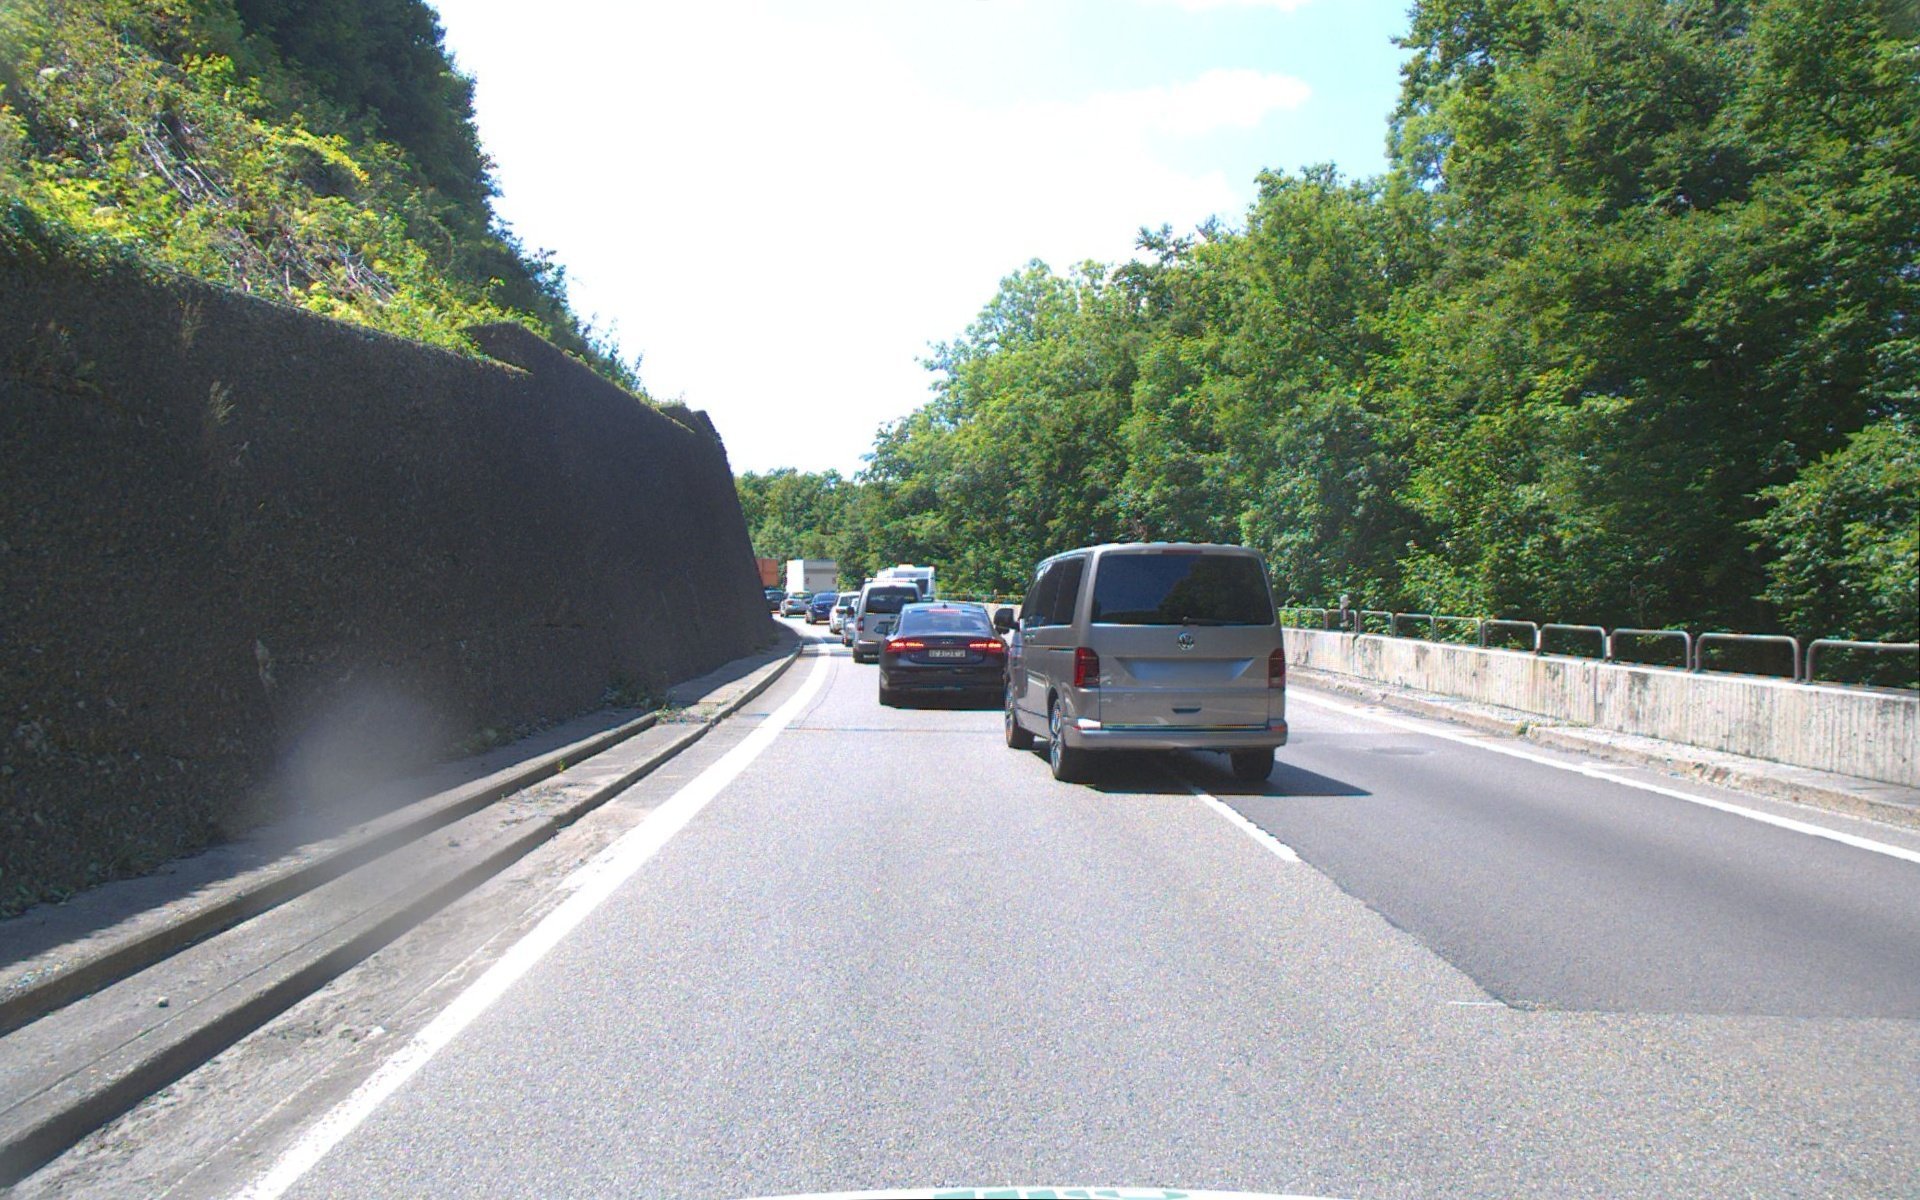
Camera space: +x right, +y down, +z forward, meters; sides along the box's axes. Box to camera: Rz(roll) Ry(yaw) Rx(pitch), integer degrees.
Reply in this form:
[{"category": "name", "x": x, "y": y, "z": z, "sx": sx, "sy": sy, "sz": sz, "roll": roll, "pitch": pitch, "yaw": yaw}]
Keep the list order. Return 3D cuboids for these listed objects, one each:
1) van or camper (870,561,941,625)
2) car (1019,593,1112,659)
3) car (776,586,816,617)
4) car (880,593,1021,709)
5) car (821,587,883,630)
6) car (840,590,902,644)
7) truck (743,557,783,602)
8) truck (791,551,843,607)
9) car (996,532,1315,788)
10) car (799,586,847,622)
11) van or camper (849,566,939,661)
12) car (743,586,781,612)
[{"category": "van or camper", "x": -2.791, "y": -0.357, "z": 82.696, "sx": 2.556, "sy": 2.905, "sz": 6.321, "roll": 4, "pitch": 0, "yaw": -10}, {"category": "car", "x": 2.682, "y": 0.629, "z": 43.001, "sx": 1.773, "sy": 1.503, "sz": 4.078, "roll": 4, "pitch": 0, "yaw": -5}, {"category": "car", "x": -9.269, "y": 0.050, "z": 93.451, "sx": 1.957, "sy": 1.646, "sz": 3.991, "roll": 2, "pitch": 0, "yaw": -9}, {"category": "car", "x": -0.210, "y": 0.675, "z": 24.283, "sx": 1.866, "sy": 1.515, "sz": 4.377, "roll": 1, "pitch": 0, "yaw": -2}, {"category": "car", "x": -4.164, "y": 0.308, "z": 63.224, "sx": 1.861, "sy": 1.612, "sz": 3.760, "roll": 0, "pitch": 0, "yaw": -12}, {"category": "car", "x": -2.739, "y": 0.475, "z": 50.240, "sx": 1.737, "sy": 1.498, "sz": 3.996, "roll": 3, "pitch": 0, "yaw": -5}, {"category": "truck", "x": -16.964, "y": -1.757, "z": 142.186, "sx": 3.104, "sy": 3.528, "sz": 8.208, "roll": 4, "pitch": 0, "yaw": -8}, {"category": "truck", "x": -10.476, "y": -1.541, "z": 120.524, "sx": 2.872, "sy": 3.751, "sz": 7.706, "roll": 4, "pitch": 0, "yaw": -10}, {"category": "car", "x": 1.589, "y": 0.463, "z": 15.254, "sx": 1.903, "sy": 1.965, "sz": 4.688, "roll": 1, "pitch": 0, "yaw": -6}, {"category": "car", "x": -6.542, "y": 0.181, "z": 78.569, "sx": 1.825, "sy": 1.648, "sz": 3.989, "roll": 0, "pitch": 0, "yaw": -11}, {"category": "van or camper", "x": -1.605, "y": 0.289, "z": 38.885, "sx": 1.817, "sy": 1.975, "sz": 4.161, "roll": 4, "pitch": 0, "yaw": -5}, {"category": "car", "x": -12.595, "y": -0.070, "z": 105.233, "sx": 1.723, "sy": 1.598, "sz": 3.752, "roll": 2, "pitch": 0, "yaw": -18}]
